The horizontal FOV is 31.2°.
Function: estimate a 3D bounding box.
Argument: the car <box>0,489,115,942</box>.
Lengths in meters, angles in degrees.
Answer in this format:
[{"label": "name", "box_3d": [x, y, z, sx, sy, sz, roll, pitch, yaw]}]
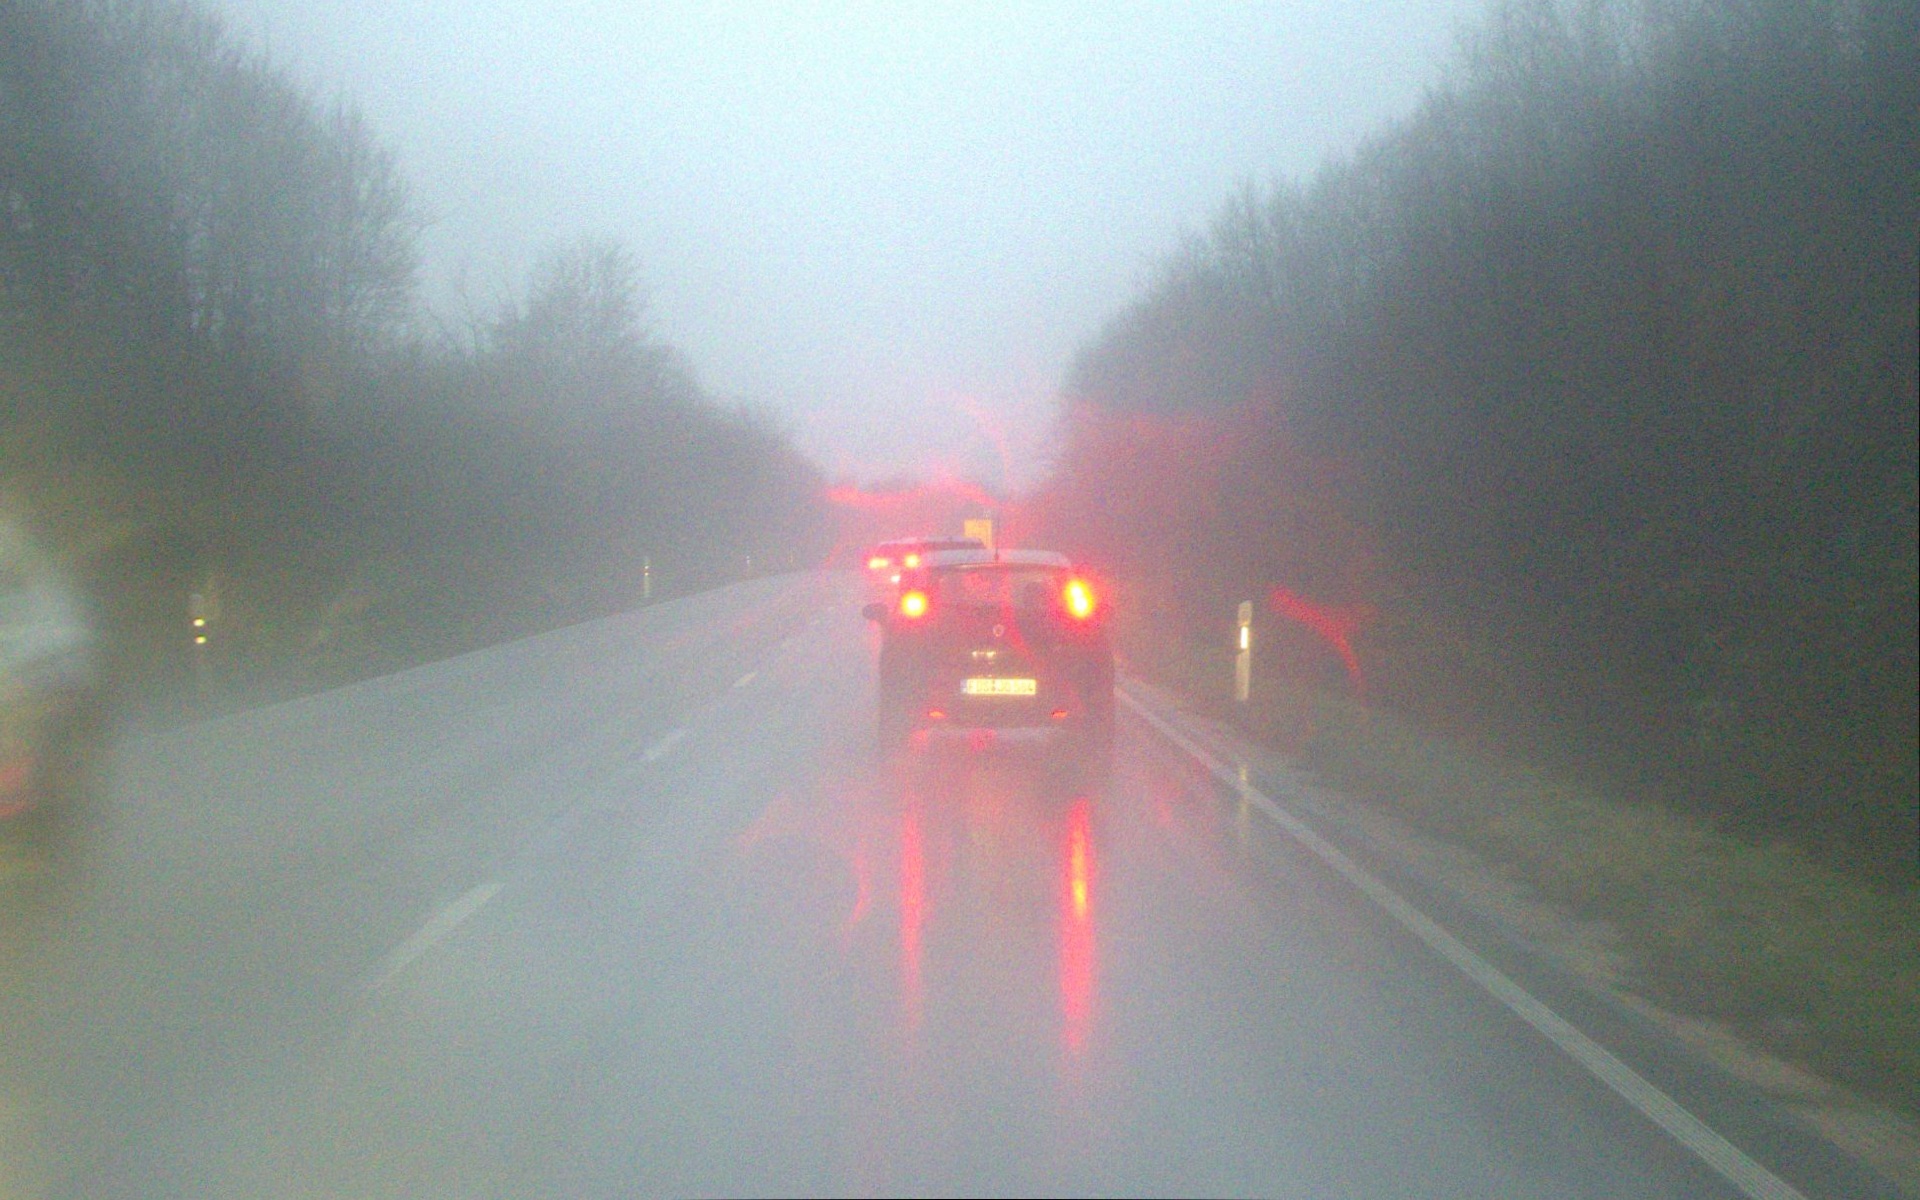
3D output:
[{"label": "car", "box_3d": [-4.315, 0.411, 11.810, 1.872, 1.601, 4.196, 0, 1, -1]}]

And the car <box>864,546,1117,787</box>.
[{"label": "car", "box_3d": [0.231, 0.437, 25.735, 1.728, 1.638, 4.000, 1, 1, 1]}]

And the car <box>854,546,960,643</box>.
[{"label": "car", "box_3d": [-0.900, -0.114, 60.460, 1.728, 1.638, 4.000, 1, 1, 1]}]
